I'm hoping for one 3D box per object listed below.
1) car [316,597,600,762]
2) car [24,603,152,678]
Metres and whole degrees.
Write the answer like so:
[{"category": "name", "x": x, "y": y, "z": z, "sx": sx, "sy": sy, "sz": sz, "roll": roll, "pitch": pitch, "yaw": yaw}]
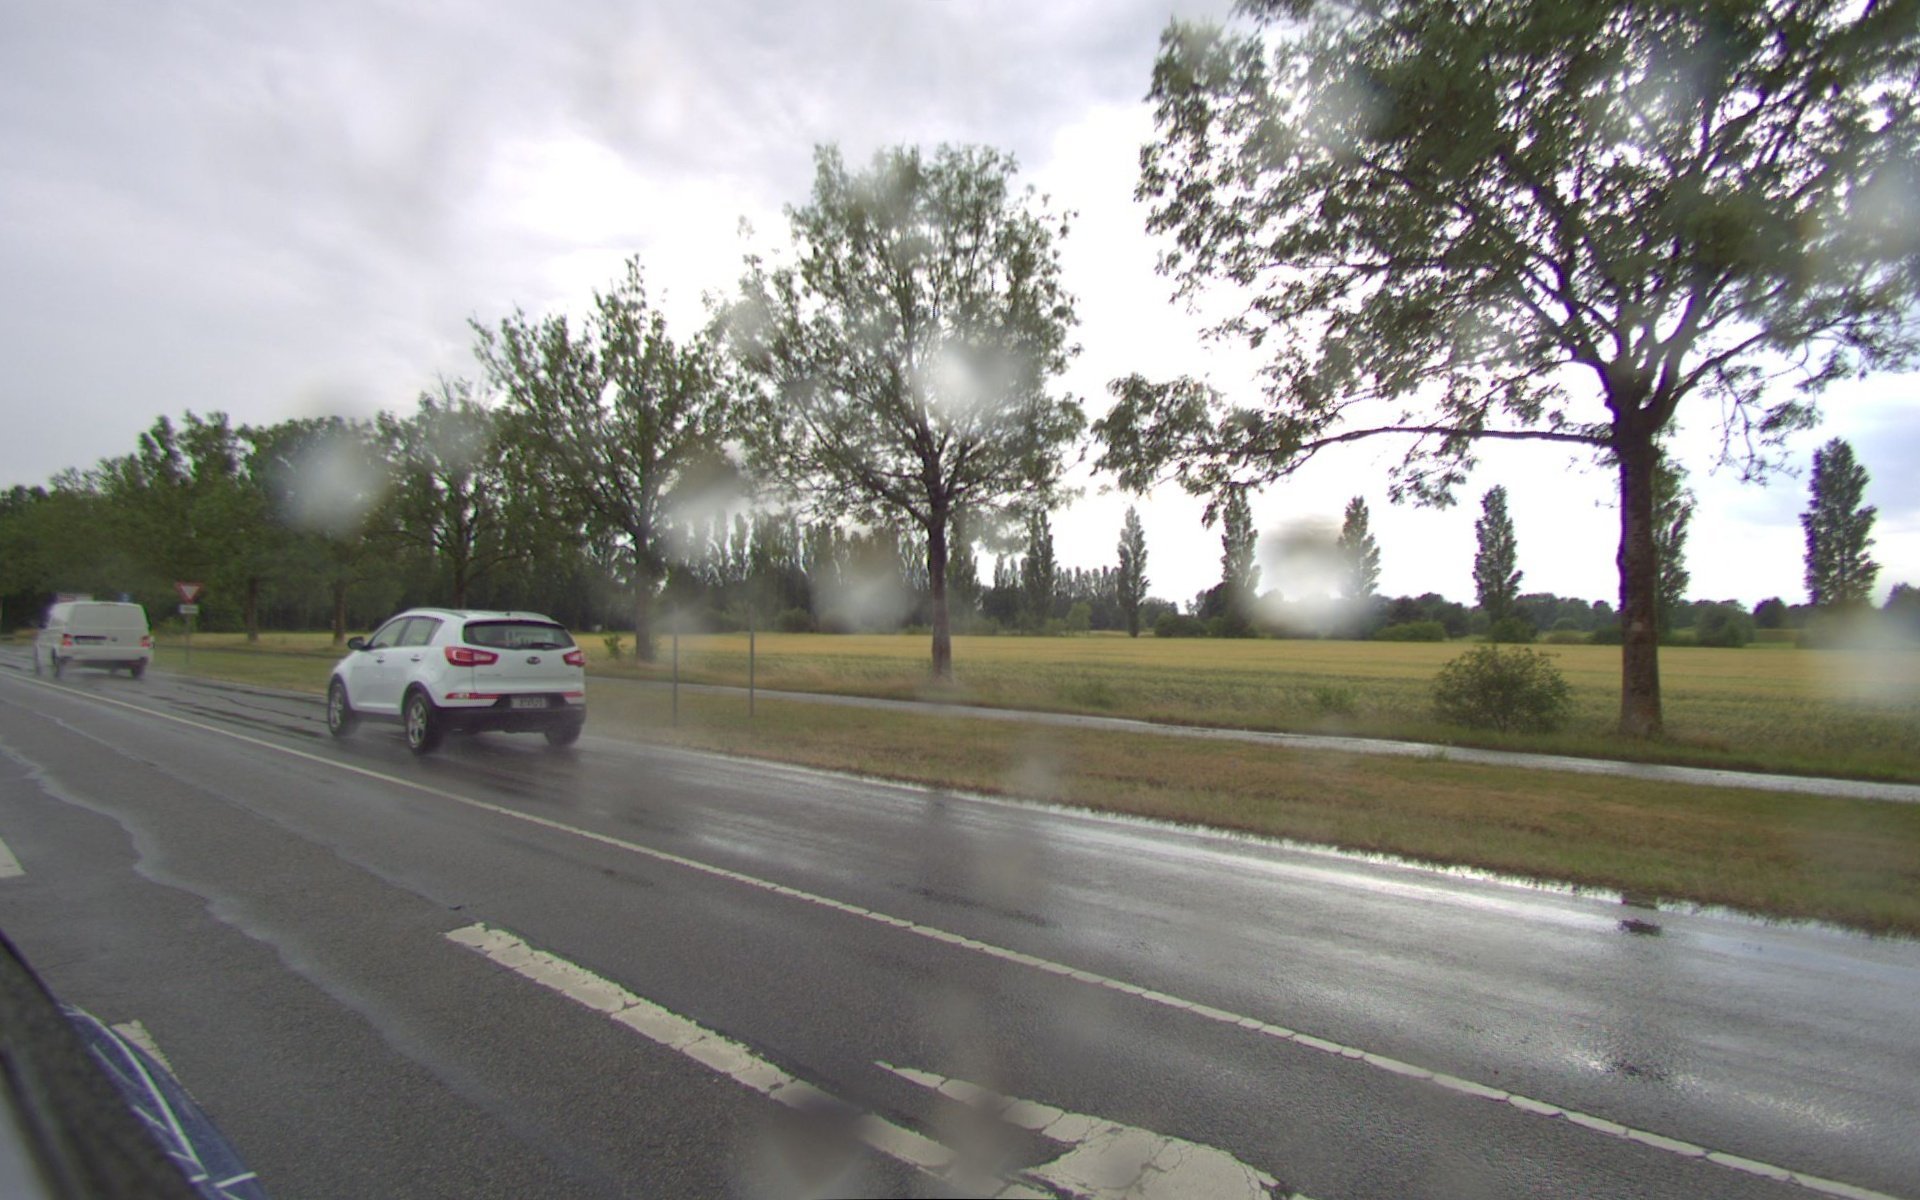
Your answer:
[{"category": "car", "x": -6.266, "y": 0.890, "z": 12.422, "sx": 4.155, "sy": 1.684, "sz": 1.685, "roll": -1, "pitch": -4, "yaw": 42}, {"category": "car", "x": -23.589, "y": 1.078, "z": 27.314, "sx": 4.682, "sy": 1.876, "sz": 1.896, "roll": -1, "pitch": -4, "yaw": 41}]
